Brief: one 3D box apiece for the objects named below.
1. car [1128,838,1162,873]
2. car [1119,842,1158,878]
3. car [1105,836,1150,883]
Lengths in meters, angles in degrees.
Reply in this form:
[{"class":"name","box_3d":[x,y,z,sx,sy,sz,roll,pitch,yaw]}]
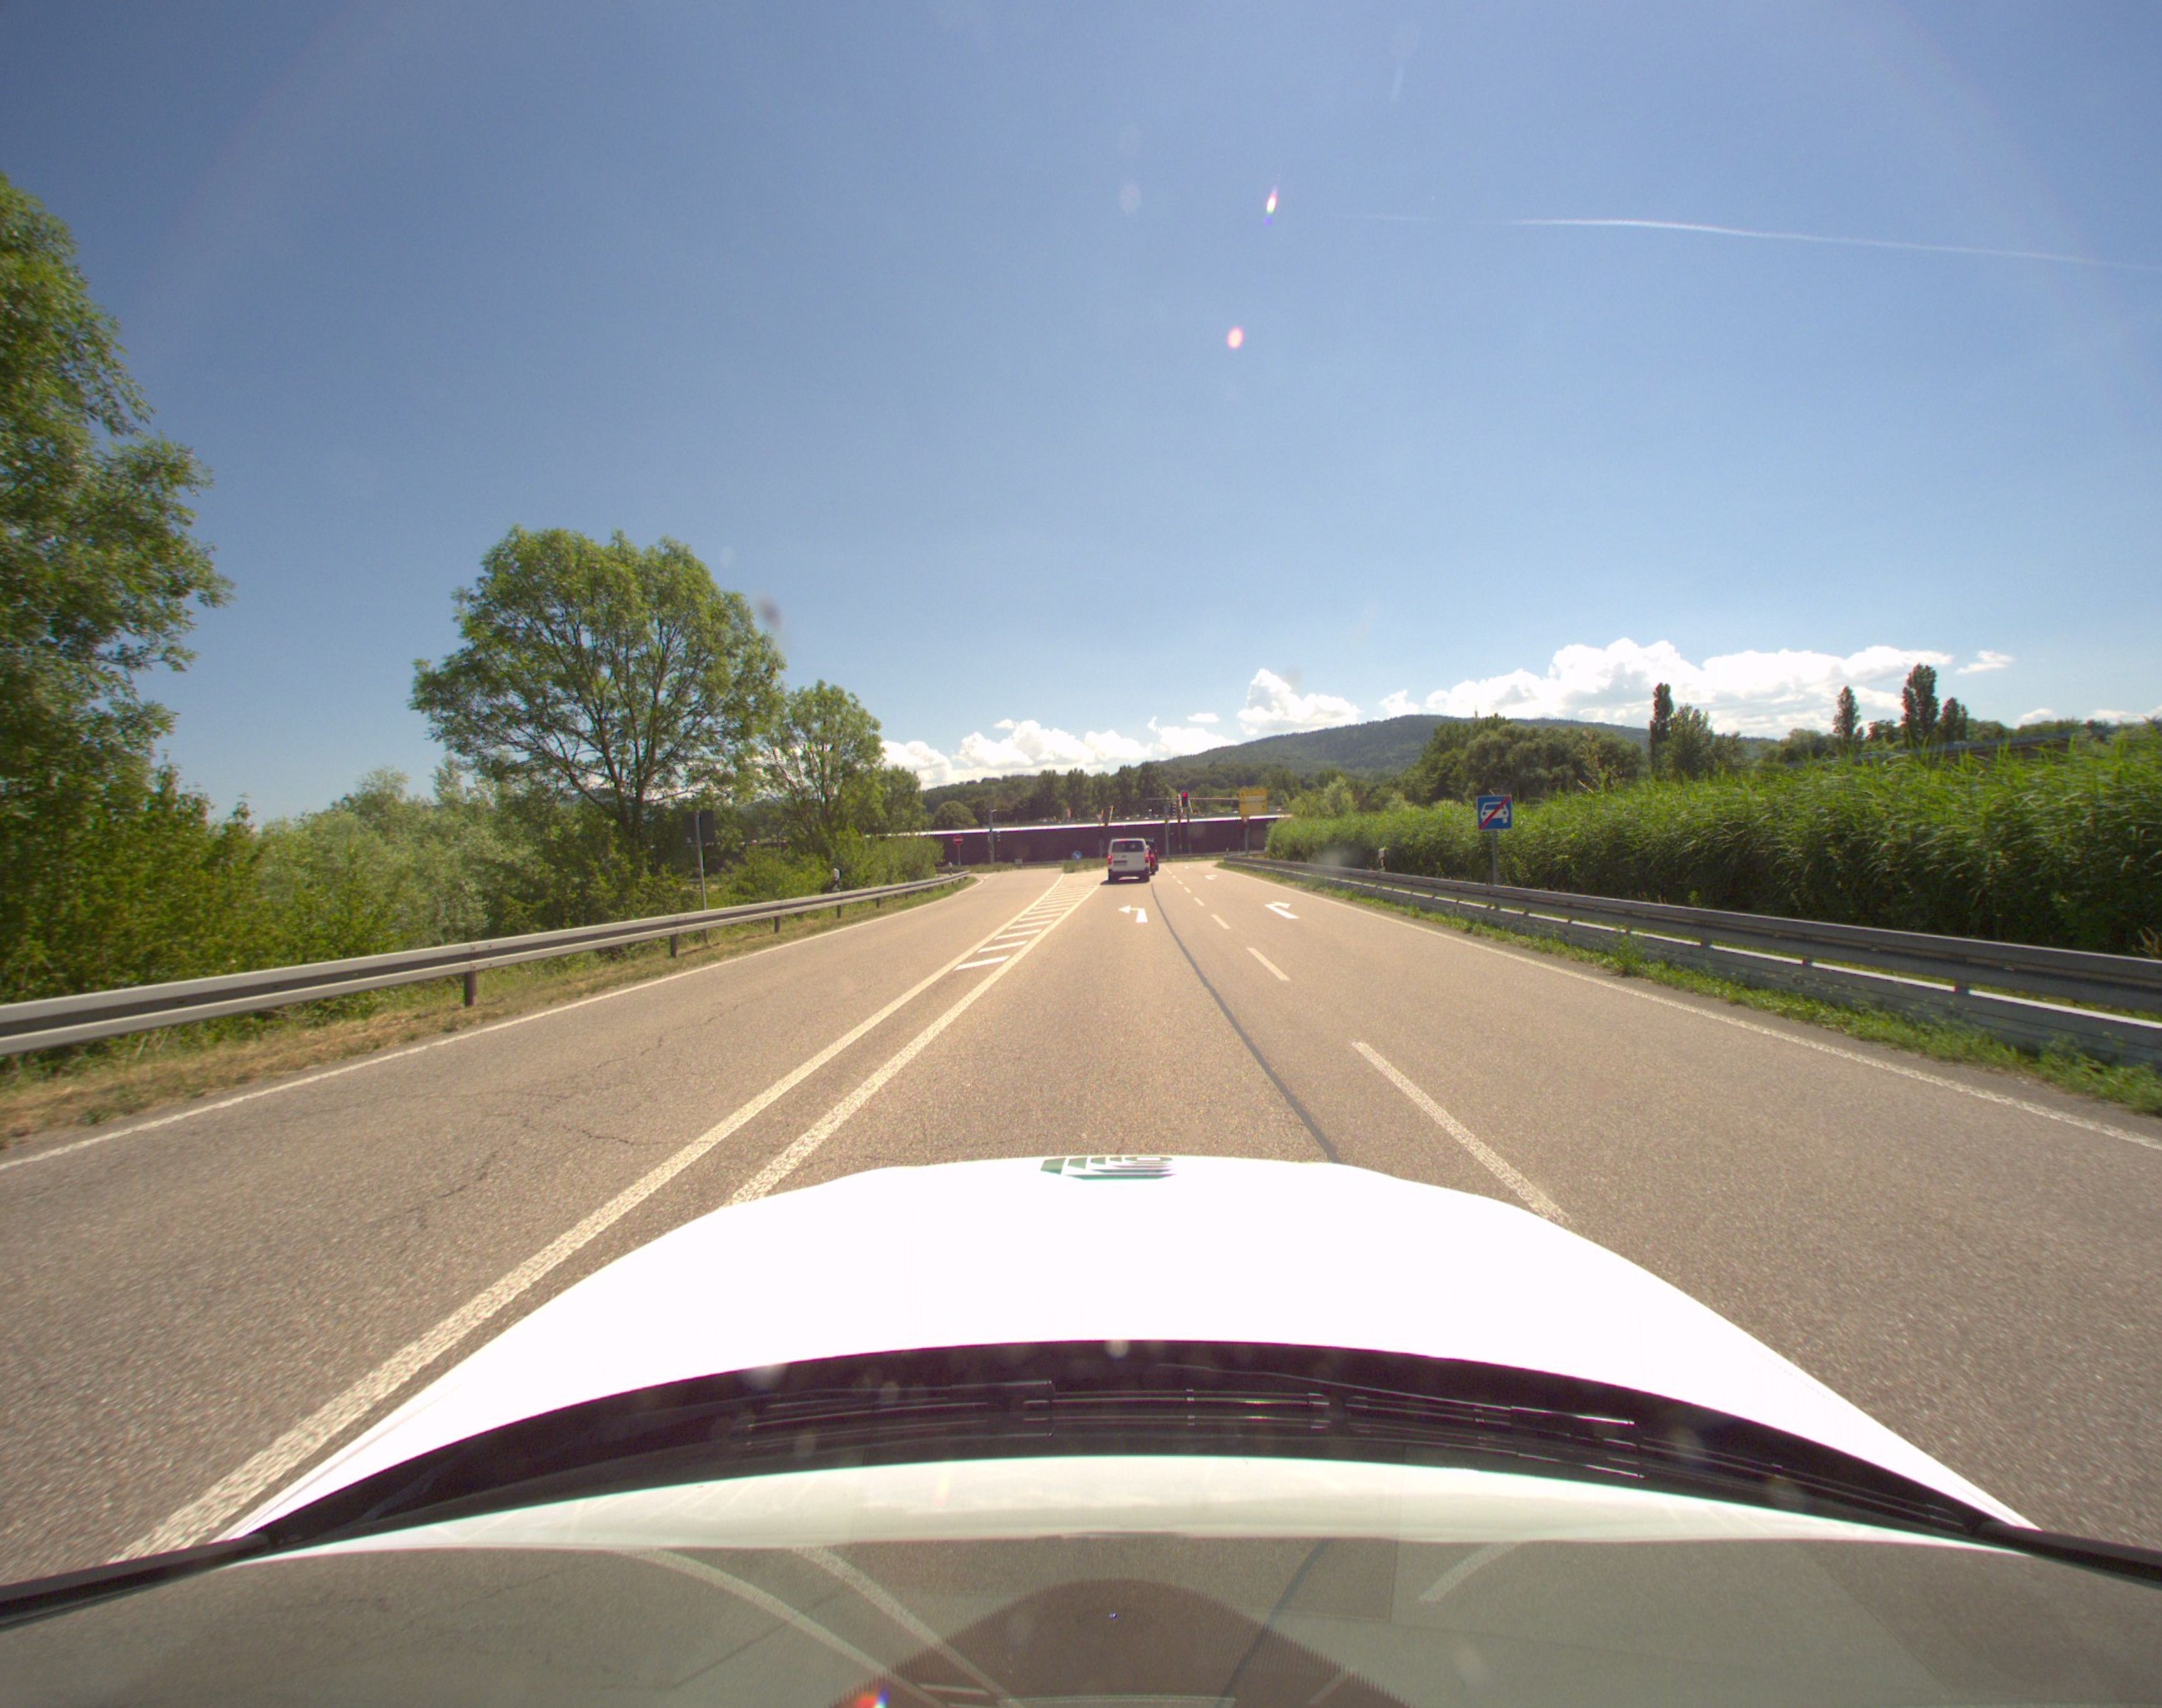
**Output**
[{"class":"car","box_3d":[4.124,0.099,52.382,1.984,2.013,4.005,-4,0,4]},{"class":"car","box_3d":[3.233,0.322,45.501,1.984,1.812,4.005,-4,0,4]},{"class":"car","box_3d":[2.143,0.232,37.058,1.862,1.964,4.005,-2,0,4]}]
